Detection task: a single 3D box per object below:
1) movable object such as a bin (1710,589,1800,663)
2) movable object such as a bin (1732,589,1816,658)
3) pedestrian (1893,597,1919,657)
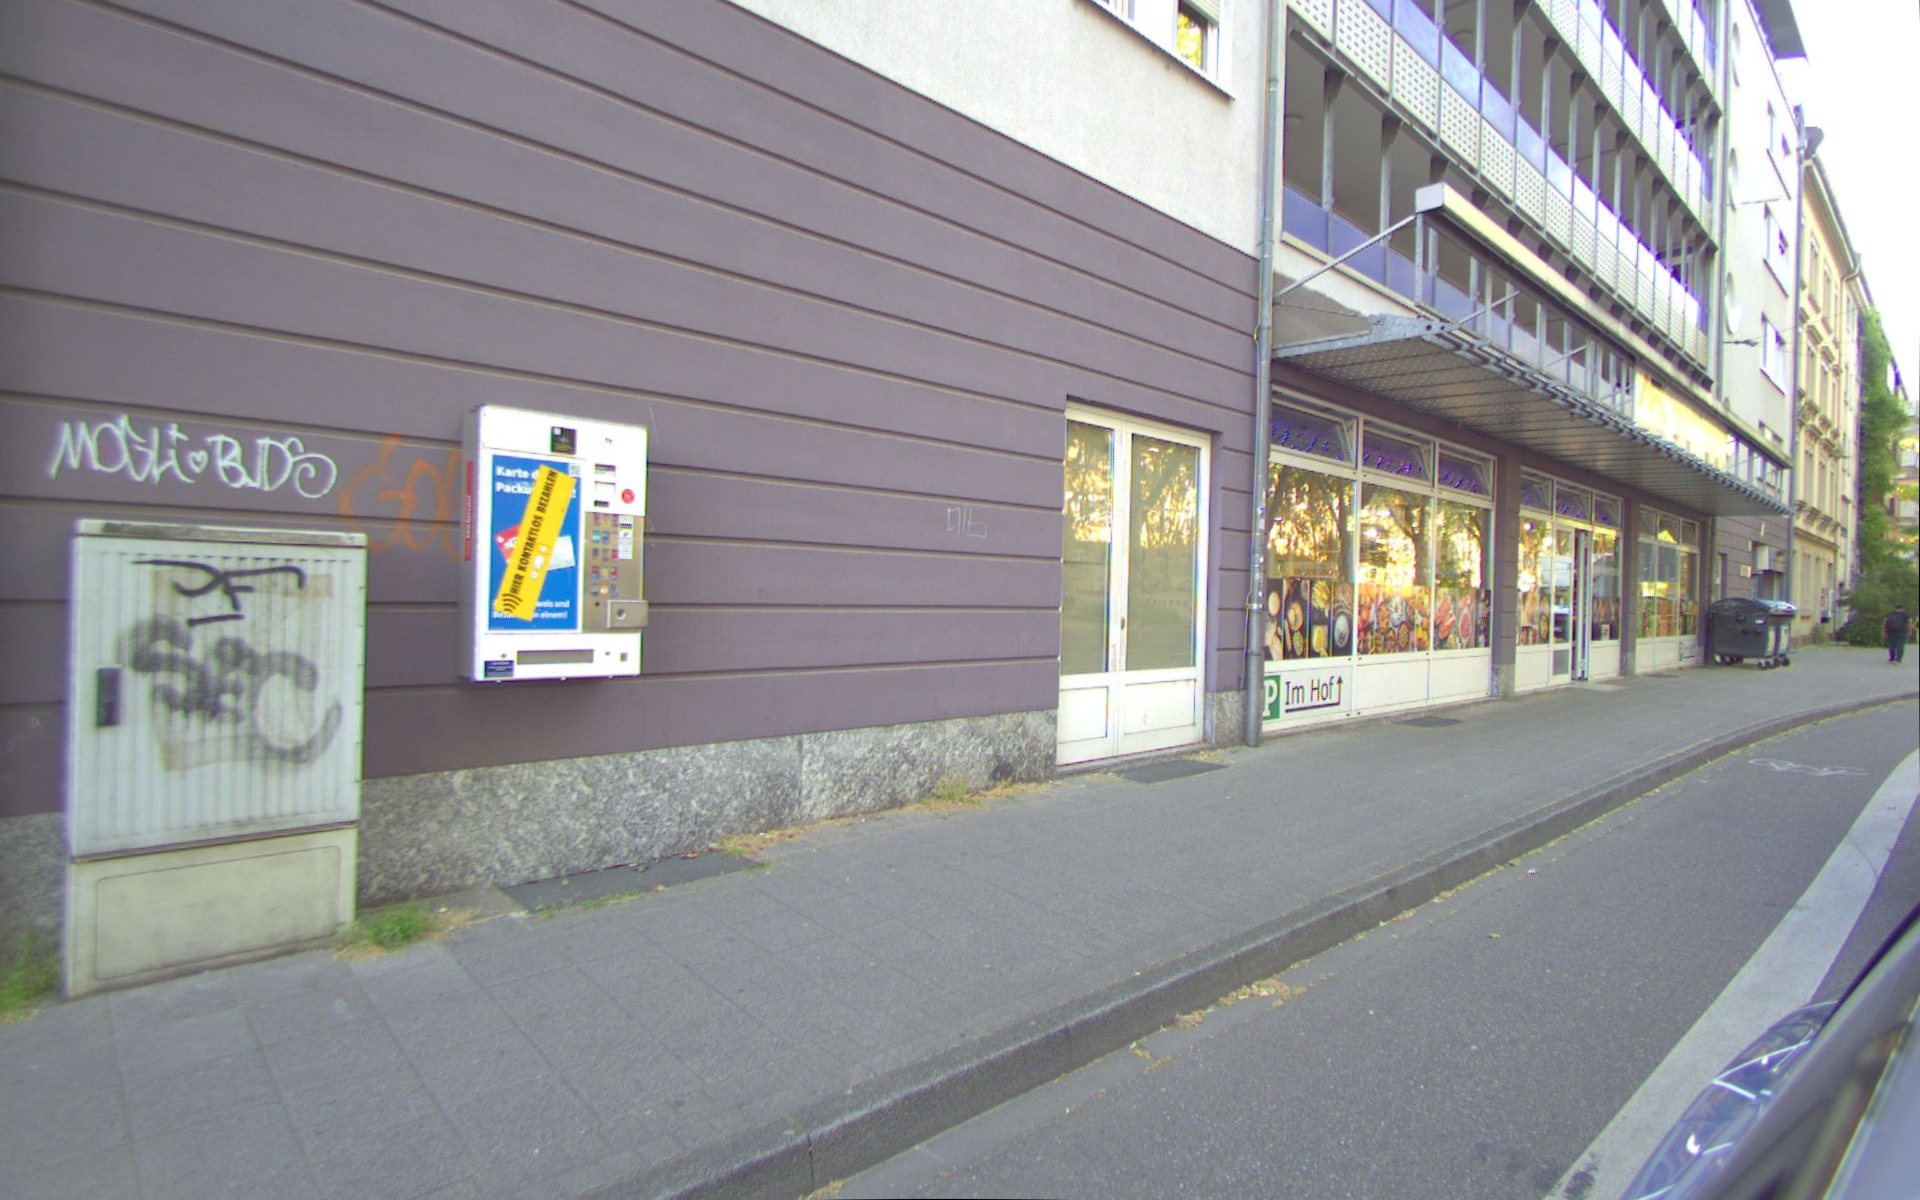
[{"bbox_3d":[16.431,0.510,20.908,1.348,1.427,1.203,1,1,-41],"label":"movable object such as a bin"},{"bbox_3d":[17.880,0.489,22.237,1.348,1.427,1.203,1,1,-41],"label":"movable object such as a bin"},{"bbox_3d":[23.833,0.663,25.390,0.619,1.463,0.540,1,1,-41],"label":"pedestrian"}]
